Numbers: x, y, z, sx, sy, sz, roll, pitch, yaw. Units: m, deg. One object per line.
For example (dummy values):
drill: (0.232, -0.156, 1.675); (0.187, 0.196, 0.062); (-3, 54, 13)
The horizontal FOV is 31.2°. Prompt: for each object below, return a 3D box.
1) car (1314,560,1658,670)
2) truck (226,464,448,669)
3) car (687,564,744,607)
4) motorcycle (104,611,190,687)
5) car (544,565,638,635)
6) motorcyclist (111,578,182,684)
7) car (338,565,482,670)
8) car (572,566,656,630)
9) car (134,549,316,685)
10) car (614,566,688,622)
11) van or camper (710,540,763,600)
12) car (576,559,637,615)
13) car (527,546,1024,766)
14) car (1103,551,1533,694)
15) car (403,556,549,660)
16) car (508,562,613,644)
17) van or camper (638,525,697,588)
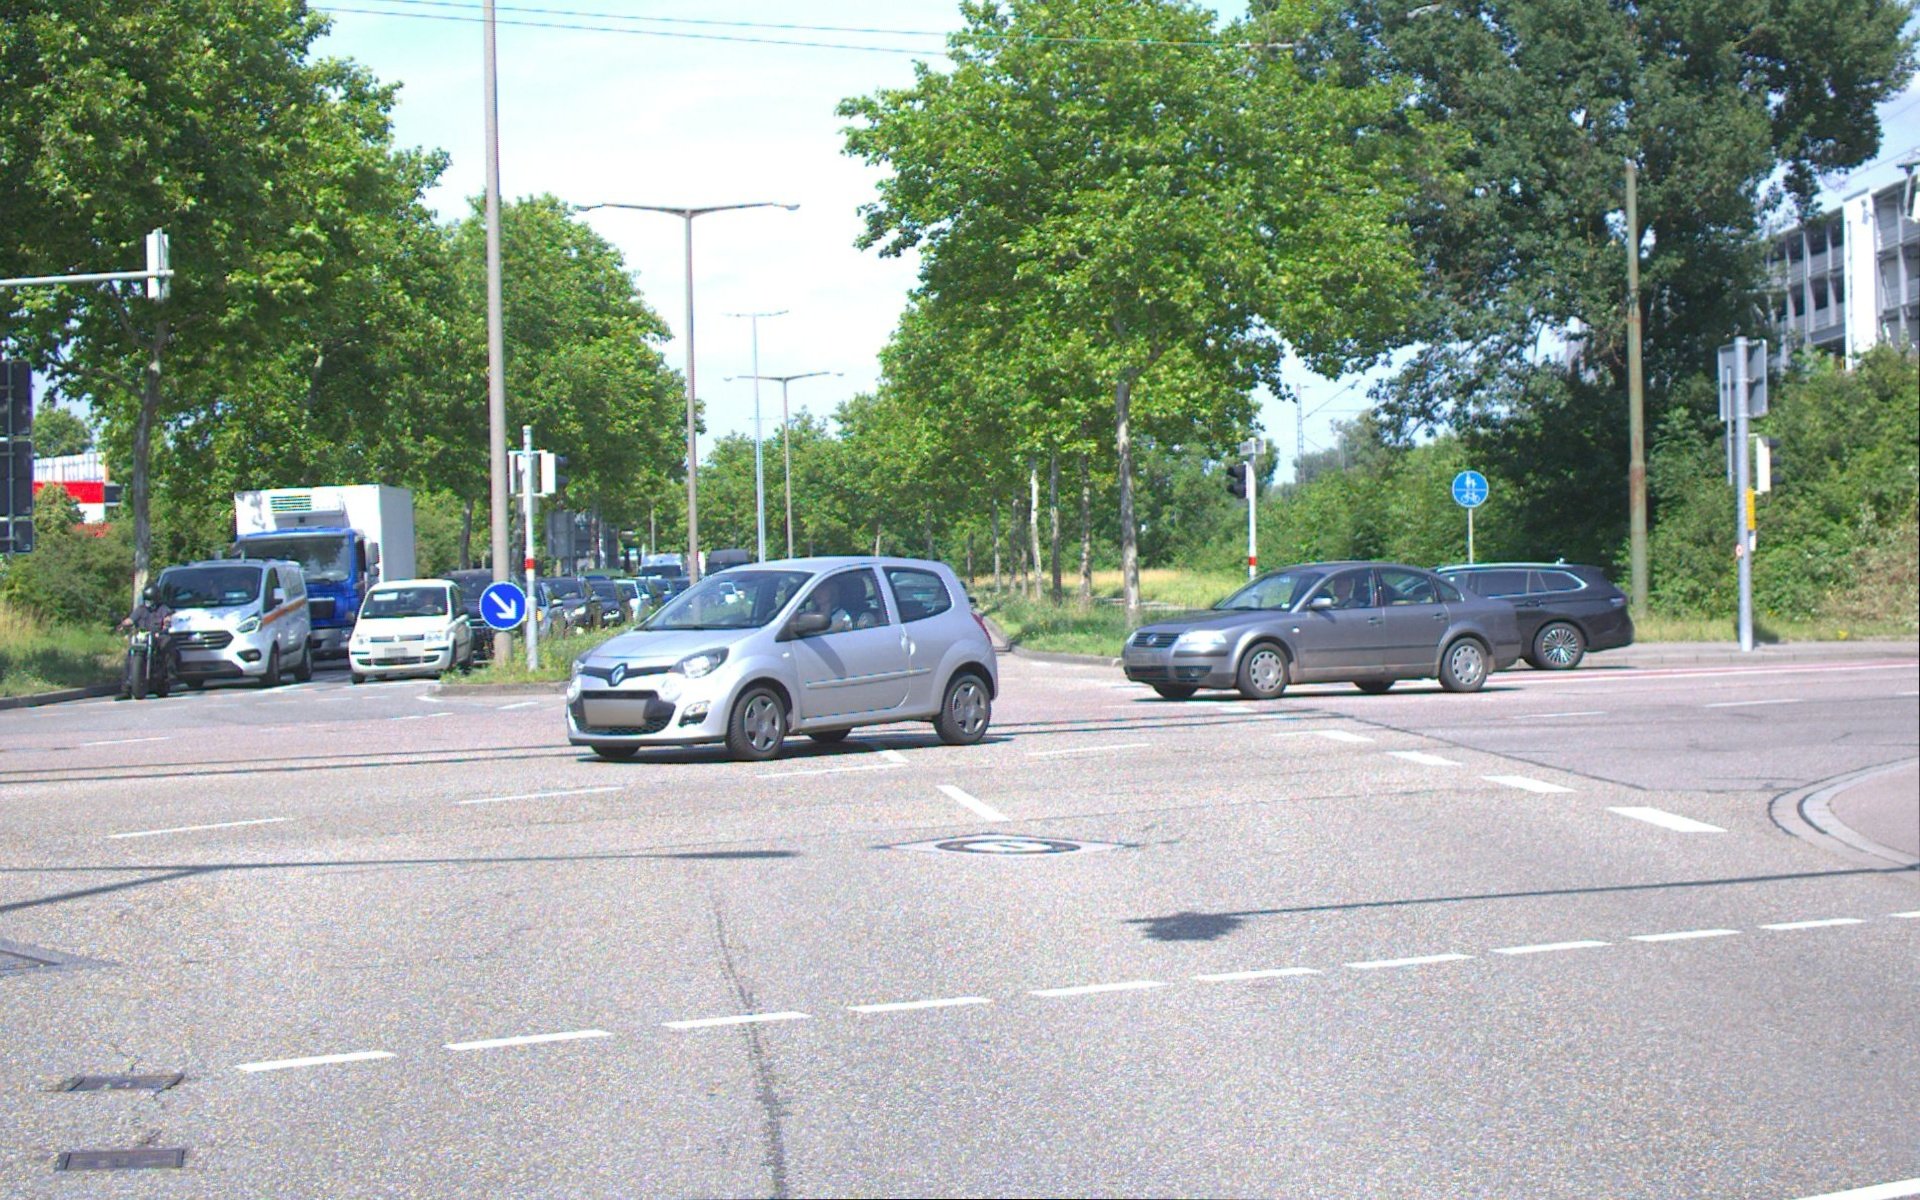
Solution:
car: (7.167, 0.180, 46.935); (4.250, 1.386, 1.840); (-1, 1, -17)
truck: (-11.413, -0.658, 63.585); (2.804, 3.459, 6.692); (-3, 1, -1)
car: (-8.893, -0.546, 125.219); (1.783, 1.454, 4.472); (-2, 1, -1)
motorcycle: (-11.378, 0.673, 48.180); (0.688, 0.988, 2.217); (-1, 1, -1)
car: (-8.470, -0.024, 79.259); (1.689, 1.468, 4.218); (-3, 1, -1)
motorcyclist: (-11.415, 0.428, 48.271); (0.743, 1.465, 0.987); (-1, 1, -1)
car: (-8.374, 0.236, 52.594); (1.593, 1.472, 3.729); (-2, 1, -1)
car: (-8.516, -0.056, 84.896); (1.689, 1.467, 3.815); (-2, 1, -1)
car: (-11.338, 0.217, 53.349); (1.976, 1.992, 5.032); (-1, 1, -3)
car: (-8.744, -0.185, 97.591); (1.784, 1.484, 4.212); (-2, 1, -2)
van or camper: (-9.123, -1.198, 140.733); (1.938, 2.360, 5.398); (-2, 0, -2)
car: (-12.216, -0.440, 118.929); (1.689, 1.852, 4.036); (-2, 0, -1)
car: (-1.332, 0.373, 26.064); (1.653, 1.509, 3.727); (0, 1, 40)
car: (3.860, 0.208, 36.802); (4.447, 1.407, 1.639); (-1, 1, -30)
car: (-8.188, 0.141, 58.477); (1.820, 1.641, 4.694); (-2, 0, -1)
car: (-8.331, 0.033, 71.984); (1.689, 1.581, 4.240); (-2, 1, -1)
van or camper: (-12.554, -1.866, 147.899); (2.015, 2.579, 5.517); (-2, 1, -1)
